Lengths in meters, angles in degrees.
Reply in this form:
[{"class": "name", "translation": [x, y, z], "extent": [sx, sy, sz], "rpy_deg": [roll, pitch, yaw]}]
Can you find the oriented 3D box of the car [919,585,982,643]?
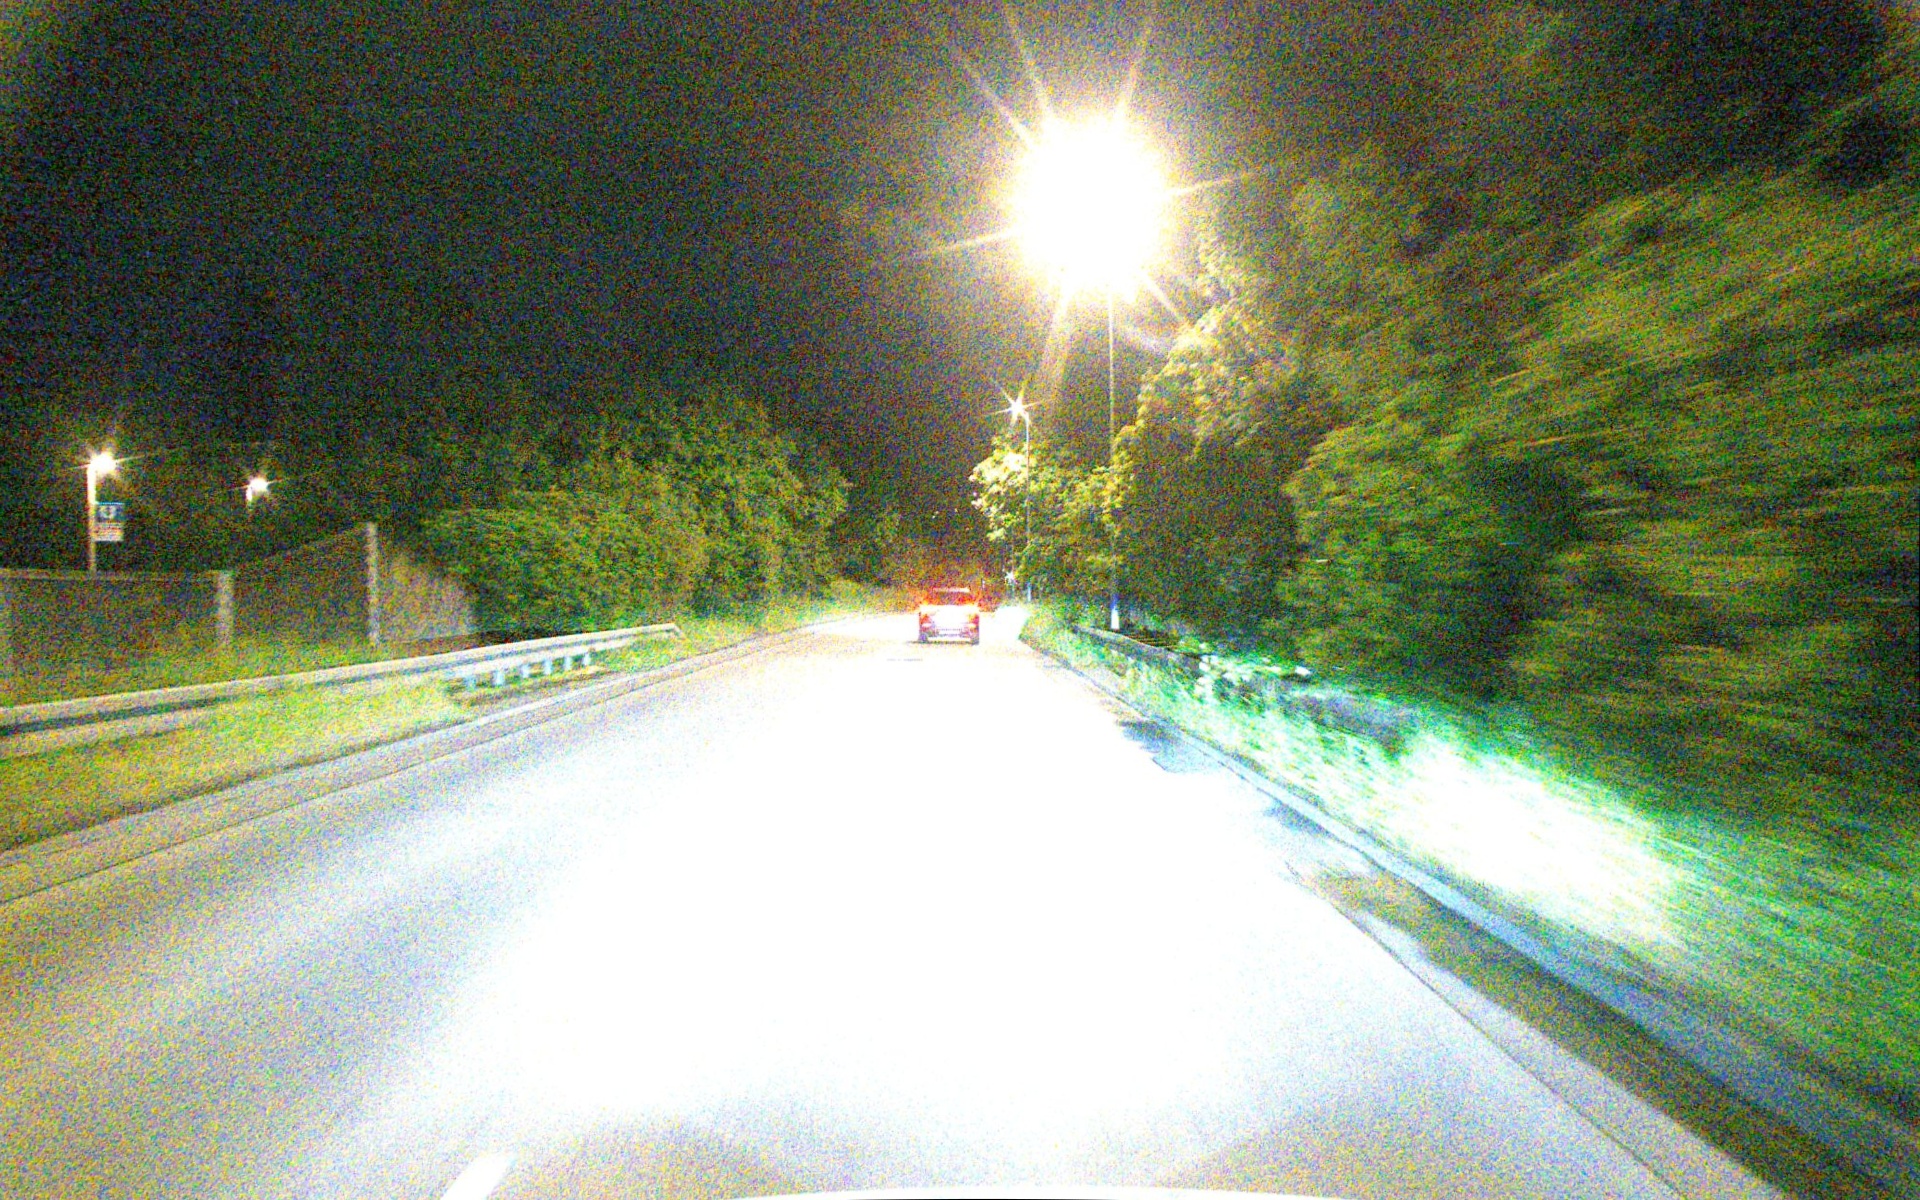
[{"class": "car", "translation": [-0.318, 0.380, 48.618], "extent": [1.778, 1.601, 3.942], "rpy_deg": [0, 0, -2]}]
